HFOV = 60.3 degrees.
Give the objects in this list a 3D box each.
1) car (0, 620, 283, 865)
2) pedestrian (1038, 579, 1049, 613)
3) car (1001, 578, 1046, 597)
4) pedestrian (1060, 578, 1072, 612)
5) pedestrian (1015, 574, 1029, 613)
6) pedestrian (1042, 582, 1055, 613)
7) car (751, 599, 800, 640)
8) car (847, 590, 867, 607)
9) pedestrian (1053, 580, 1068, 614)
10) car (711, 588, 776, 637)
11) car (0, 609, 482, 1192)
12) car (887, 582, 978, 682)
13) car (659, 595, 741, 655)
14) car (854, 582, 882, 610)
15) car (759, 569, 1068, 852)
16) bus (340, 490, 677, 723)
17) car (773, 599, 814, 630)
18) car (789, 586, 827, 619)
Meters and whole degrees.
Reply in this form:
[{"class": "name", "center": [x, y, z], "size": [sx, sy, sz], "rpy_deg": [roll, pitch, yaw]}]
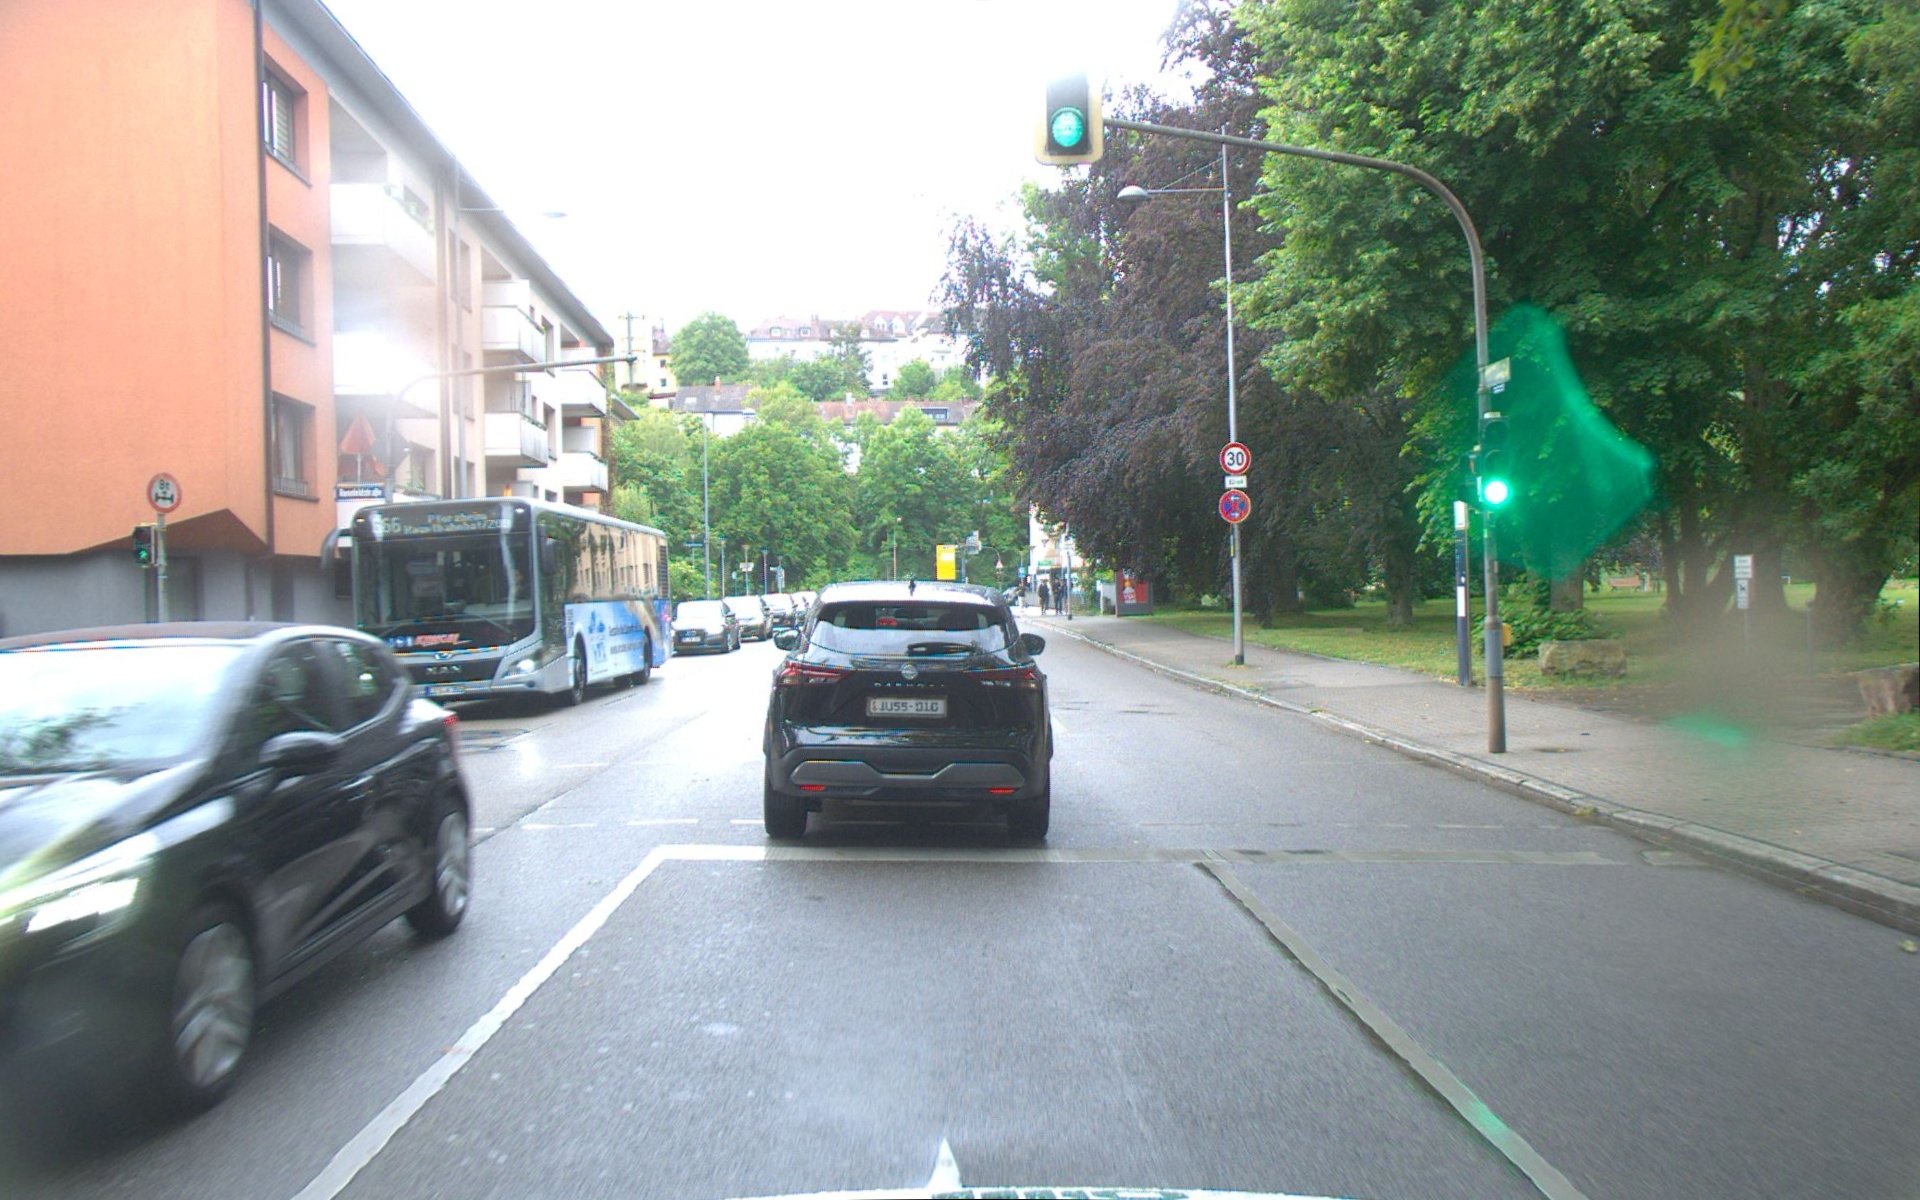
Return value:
[{"class": "car", "center": [-6.693, 0.950, 12.268], "size": [1.773, 1.441, 4.028], "rpy_deg": [-3, 0, -3]}, {"class": "pedestrian", "center": [4.166, -0.182, 82.561], "size": [0.533, 1.680, 0.490], "rpy_deg": [1, -1, -1]}, {"class": "car", "center": [5.979, -1.174, 156.354], "size": [3.917, 1.713, 1.994], "rpy_deg": [-2, 0, -12]}, {"class": "pedestrian", "center": [5.208, -0.236, 81.122], "size": [0.504, 1.684, 0.550], "rpy_deg": [1, -1, -2]}, {"class": "pedestrian", "center": [3.490, -0.374, 93.731], "size": [0.752, 2.222, 0.711], "rpy_deg": [1, -1, 1]}, {"class": "pedestrian", "center": [5.206, -0.158, 97.089], "size": [0.606, 1.810, 0.778], "rpy_deg": [-2, 0, -2]}, {"class": "car", "center": [-7.496, 0.767, 67.607], "size": [1.643, 1.495, 4.215], "rpy_deg": [-3, 0, -3]}, {"class": "car", "center": [-9.143, -0.138, 146.356], "size": [1.684, 1.494, 3.683], "rpy_deg": [-2, 0, -3]}, {"class": "pedestrian", "center": [5.034, -0.169, 82.752], "size": [0.685, 1.680, 0.628], "rpy_deg": [1, -1, -1]}, {"class": "car", "center": [-7.219, 0.400, 55.475], "size": [1.712, 1.495, 4.215], "rpy_deg": [-3, 0, -3]}, {"class": "car", "center": [-3.010, 0.799, 5.916], "size": [1.592, 1.439, 3.454], "rpy_deg": [-2, 0, -1]}, {"class": "car", "center": [-0.498, 0.575, 31.778], "size": [1.588, 1.738, 3.770], "rpy_deg": [-2, 0, 0]}, {"class": "car", "center": [-7.229, 0.658, 46.335], "size": [1.740, 1.495, 4.215], "rpy_deg": [-3, 0, -3]}, {"class": "car", "center": [-6.235, -0.263, 112.850], "size": [1.728, 1.788, 3.634], "rpy_deg": [-2, 0, -1]}, {"class": "car", "center": [-0.319, 0.655, 11.580], "size": [1.770, 1.618, 3.998], "rpy_deg": [1, 0, -2]}, {"class": "bus", "center": [-7.033, 0.087, 27.980], "size": [2.710, 3.026, 11.777], "rpy_deg": [-2, 0, -2]}, {"class": "car", "center": [-7.745, 0.663, 77.068], "size": [1.643, 1.318, 3.749], "rpy_deg": [-3, 0, -3]}, {"class": "car", "center": [-8.068, 0.136, 87.885], "size": [1.715, 1.662, 3.634], "rpy_deg": [-2, 0, -1]}]
